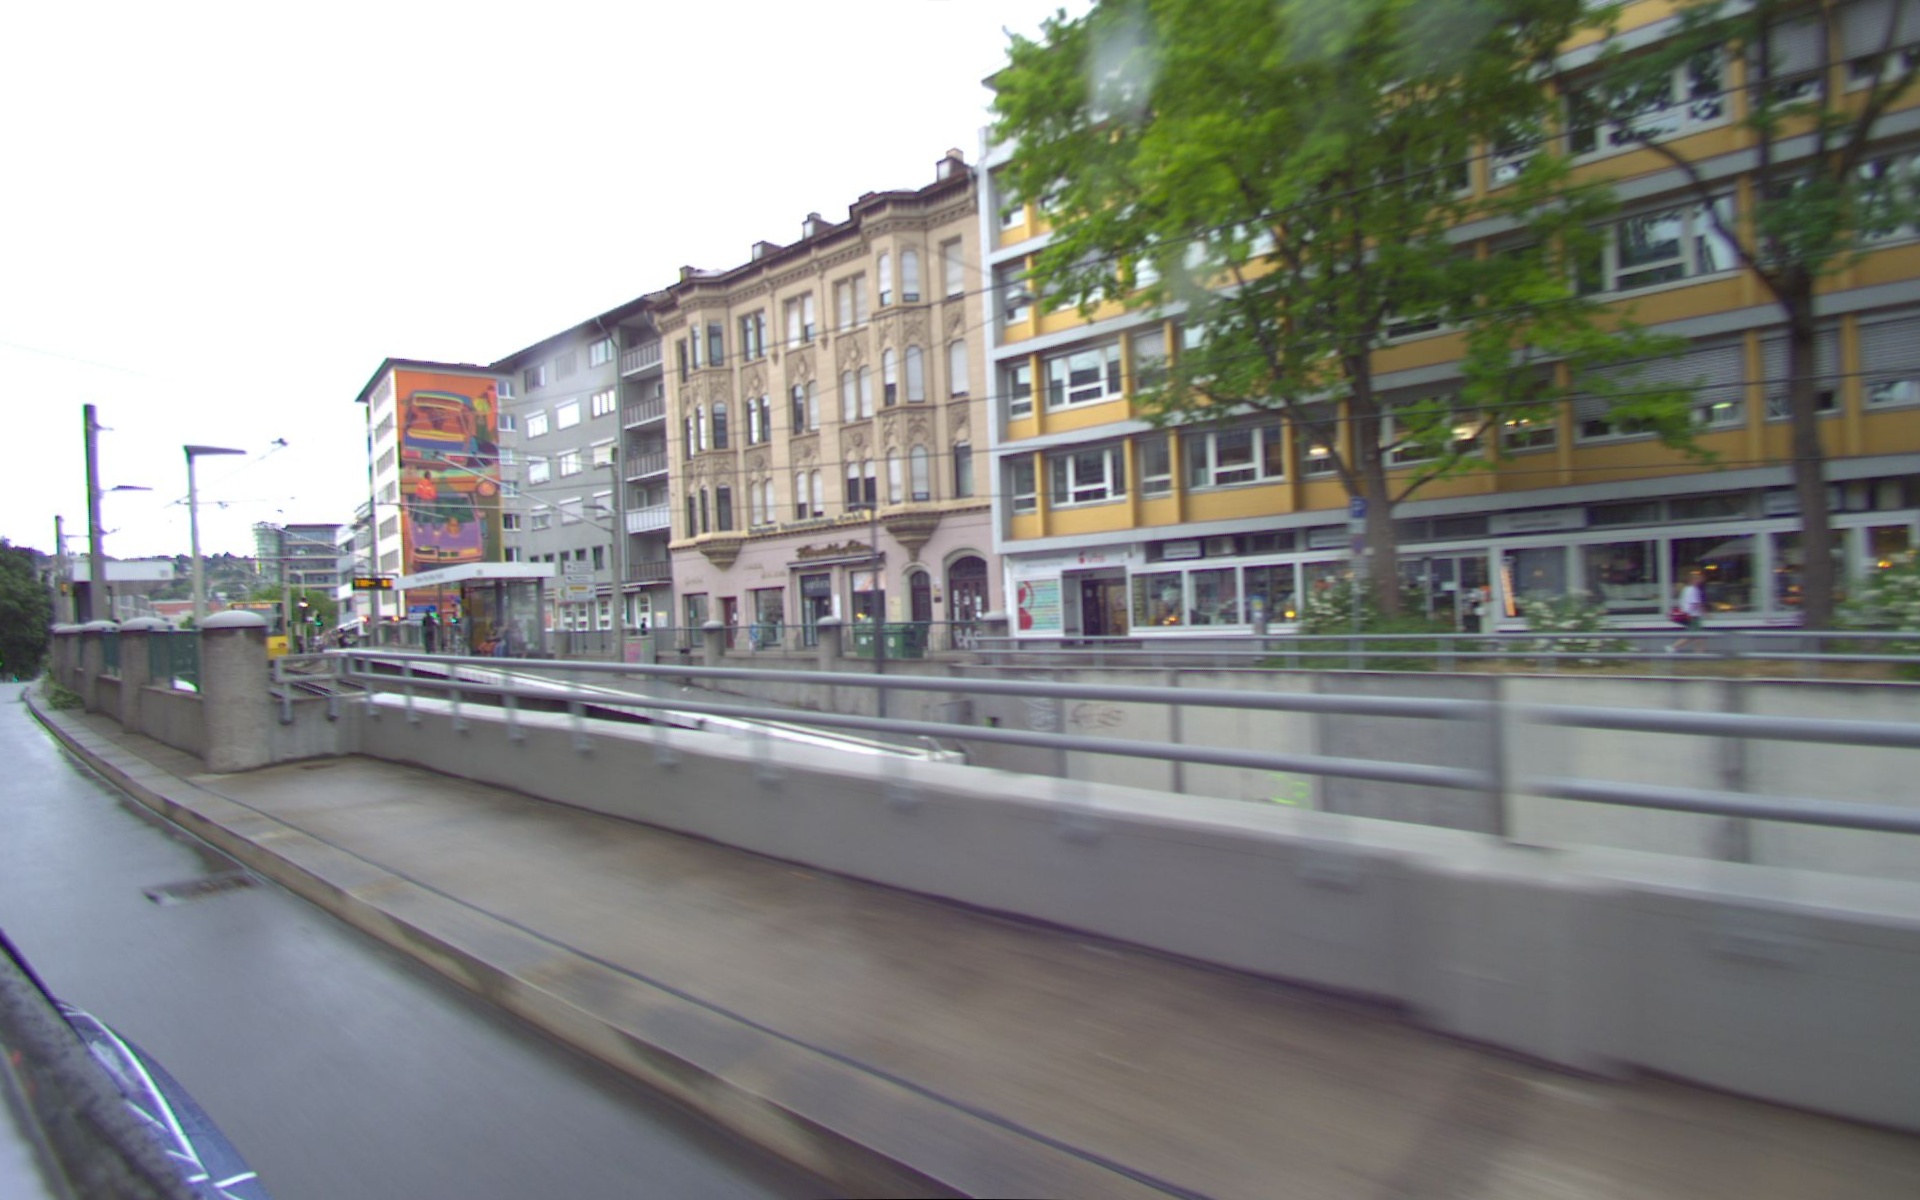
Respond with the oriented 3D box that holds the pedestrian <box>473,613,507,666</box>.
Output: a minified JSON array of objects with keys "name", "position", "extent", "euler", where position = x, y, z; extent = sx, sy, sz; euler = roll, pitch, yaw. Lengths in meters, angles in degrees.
[{"name":"pedestrian","position":[-15.194,1.289,32.705],"extent":[0.762,1.661,0.779],"euler":[5,-6,-38]}]

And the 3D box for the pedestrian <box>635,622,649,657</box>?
[{"name":"pedestrian","position":[-15.666,1.955,49.885],"extent":[0.415,1.695,0.609],"euler":[-3,-1,-31]}]

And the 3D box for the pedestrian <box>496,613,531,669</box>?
[{"name":"pedestrian","position":[-13.475,1.240,30.535],"extent":[0.668,1.661,0.897],"euler":[5,-5,-38]}]

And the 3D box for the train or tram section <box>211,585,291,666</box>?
[{"name":"train or tram section","position":[-38.782,1.510,55.175],"extent":[2.744,3.720,9.730],"euler":[-3,-2,-39]}]

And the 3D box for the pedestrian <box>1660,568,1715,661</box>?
[{"name":"pedestrian","position":[14.943,0.301,20.796],"extent":[0.829,1.863,0.658],"euler":[-2,-2,40]}]

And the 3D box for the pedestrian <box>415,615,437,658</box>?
[{"name":"pedestrian","position":[-19.792,1.356,37.500],"extent":[0.551,1.549,0.517],"euler":[-1,-2,-42]}]

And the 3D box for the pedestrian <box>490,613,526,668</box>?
[{"name":"pedestrian","position":[-14.287,1.285,31.994],"extent":[0.762,1.661,0.779],"euler":[5,-6,-38]}]

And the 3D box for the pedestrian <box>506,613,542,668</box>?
[{"name":"pedestrian","position":[-13.584,1.279,31.506],"extent":[0.762,1.661,0.779],"euler":[5,-6,-38]}]

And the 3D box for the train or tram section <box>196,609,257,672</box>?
[{"name":"train or tram section","position":[-50.854,2.885,70.020],"extent":[2.744,3.720,9.526],"euler":[-3,-2,-39]}]

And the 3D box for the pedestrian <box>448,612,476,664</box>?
[{"name":"pedestrian","position":[-16.577,1.269,33.692],"extent":[0.624,1.673,0.684],"euler":[-2,-2,-39]}]

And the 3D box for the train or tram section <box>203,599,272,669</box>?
[{"name":"train or tram section","position":[-44.830,2.207,62.652],"extent":[2.744,3.720,9.526],"euler":[-3,-2,-39]}]
